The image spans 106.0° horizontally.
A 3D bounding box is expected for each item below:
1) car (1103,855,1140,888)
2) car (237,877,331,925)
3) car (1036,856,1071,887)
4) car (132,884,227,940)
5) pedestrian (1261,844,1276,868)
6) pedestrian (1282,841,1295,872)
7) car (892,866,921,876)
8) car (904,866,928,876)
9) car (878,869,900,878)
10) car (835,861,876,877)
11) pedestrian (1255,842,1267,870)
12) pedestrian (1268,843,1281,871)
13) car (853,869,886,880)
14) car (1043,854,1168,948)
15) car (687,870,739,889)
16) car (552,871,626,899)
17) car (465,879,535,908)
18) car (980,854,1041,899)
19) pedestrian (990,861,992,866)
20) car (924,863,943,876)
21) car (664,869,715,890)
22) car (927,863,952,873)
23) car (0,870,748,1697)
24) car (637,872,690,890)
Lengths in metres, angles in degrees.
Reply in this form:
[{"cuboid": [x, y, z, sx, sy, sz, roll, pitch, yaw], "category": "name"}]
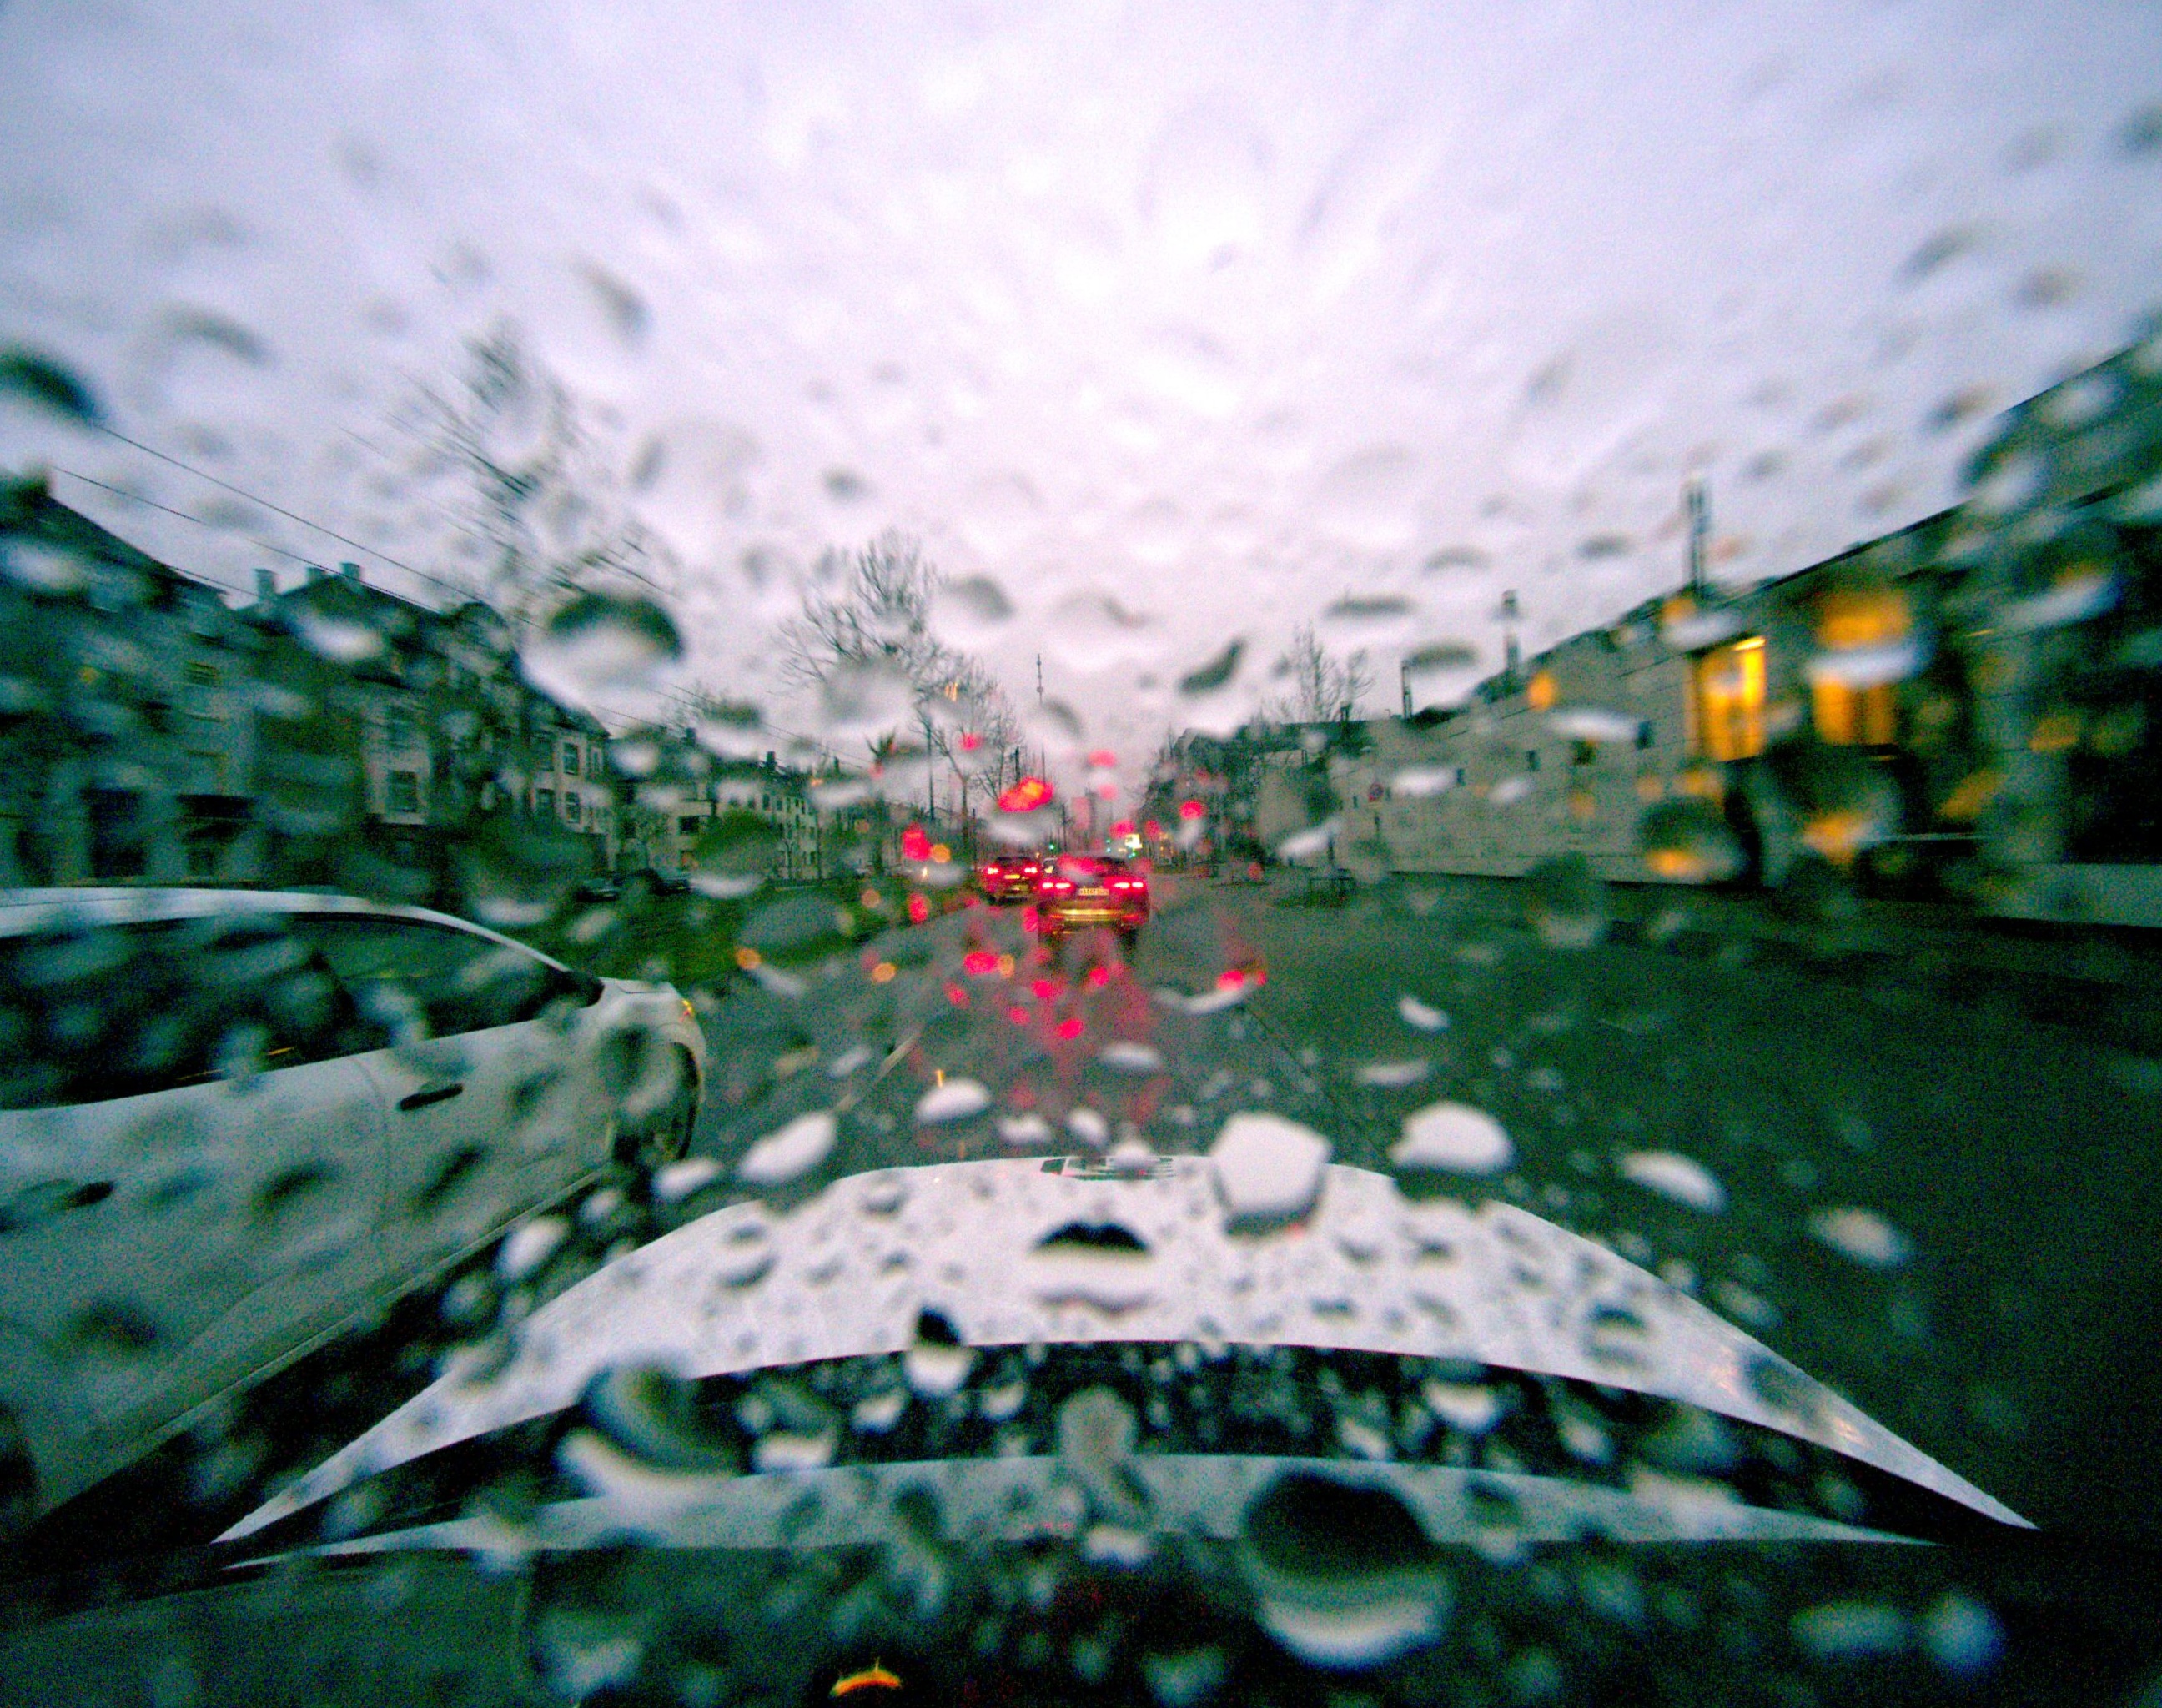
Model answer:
[{"cuboid": [2.083, 0.910, 42.516, 1.848, 1.635, 3.475, -1, -1, 1], "category": "car"}, {"cuboid": [-27.294, 1.545, 27.848, 4.603, 1.432, 1.705, -1, -1, 38], "category": "car"}, {"cuboid": [-1.468, 0.944, 44.968, 1.683, 1.635, 3.475, -1, -1, 2], "category": "car"}, {"cuboid": [-27.395, 1.703, 24.769, 3.901, 1.448, 1.831, 0, 0, 42], "category": "car"}, {"cuboid": [12.984, 0.142, 56.491, 0.665, 1.655, 0.993, -3, -1, -4], "category": "pedestrian"}, {"cuboid": [11.884, 0.151, 46.624, 0.667, 1.778, 0.617, -1, -1, 15], "category": "pedestrian"}, {"cuboid": [-23.428, 2.257, 109.037, 3.794, 1.245, 1.748, 0, 0, 37], "category": "car"}, {"cuboid": [-23.473, 2.419, 115.693, 2.899, 1.336, 1.749, 0, 0, 34], "category": "car"}, {"cuboid": [-24.126, 2.427, 102.356, 2.361, 1.048, 1.446, 0, 0, 34], "category": "car"}, {"cuboid": [-24.950, 1.593, 89.989, 4.598, 1.723, 1.845, 0, 0, 35], "category": "car"}, {"cuboid": [10.600, 0.144, 47.965, 0.667, 1.625, 0.617, -1, -1, 17], "category": "pedestrian"}, {"cuboid": [11.130, 0.167, 46.759, 0.667, 1.612, 0.617, -1, -1, 15], "category": "pedestrian"}, {"cuboid": [-24.392, 2.332, 93.778, 3.525, 1.141, 1.748, 0, 0, 34], "category": "car"}, {"cuboid": [0.447, 0.776, 14.869, 1.986, 1.483, 3.701, -1, -1, 1], "category": "car"}, {"cuboid": [-26.012, 1.803, 57.533, 4.053, 1.161, 1.722, 1, -1, 41], "category": "car"}, {"cuboid": [-26.429, 1.657, 43.748, 3.321, 1.418, 1.888, -1, -2, 27], "category": "car"}, {"cuboid": [-27.439, 1.823, 38.424, 4.212, 1.258, 1.844, -1, -1, 42], "category": "car"}, {"cuboid": [-2.429, 0.763, 28.864, 1.812, 1.450, 3.999, -1, 0, 0], "category": "car"}, {"cuboid": [-22.449, 2.298, 202.480, 0.348, 1.184, 0.429, 0, -1, -39], "category": "pedestrian"}, {"cuboid": [-18.824, 1.956, 104.044, 1.539, 1.504, 3.786, -1, -1, 3], "category": "car"}, {"cuboid": [-25.938, 1.654, 53.921, 3.993, 1.230, 1.357, 1, -1, 38], "category": "car"}, {"cuboid": [-23.354, 2.281, 134.637, 3.799, 1.588, 1.753, -1, -1, 32], "category": "car"}, {"cuboid": [-2.789, 0.819, 2.623, 1.682, 1.474, 4.002, -1, -1, 2], "category": "car"}, {"cuboid": [-25.779, 1.636, 50.291, 2.881, 0.989, 1.806, 1, -1, 37], "category": "car"}]
